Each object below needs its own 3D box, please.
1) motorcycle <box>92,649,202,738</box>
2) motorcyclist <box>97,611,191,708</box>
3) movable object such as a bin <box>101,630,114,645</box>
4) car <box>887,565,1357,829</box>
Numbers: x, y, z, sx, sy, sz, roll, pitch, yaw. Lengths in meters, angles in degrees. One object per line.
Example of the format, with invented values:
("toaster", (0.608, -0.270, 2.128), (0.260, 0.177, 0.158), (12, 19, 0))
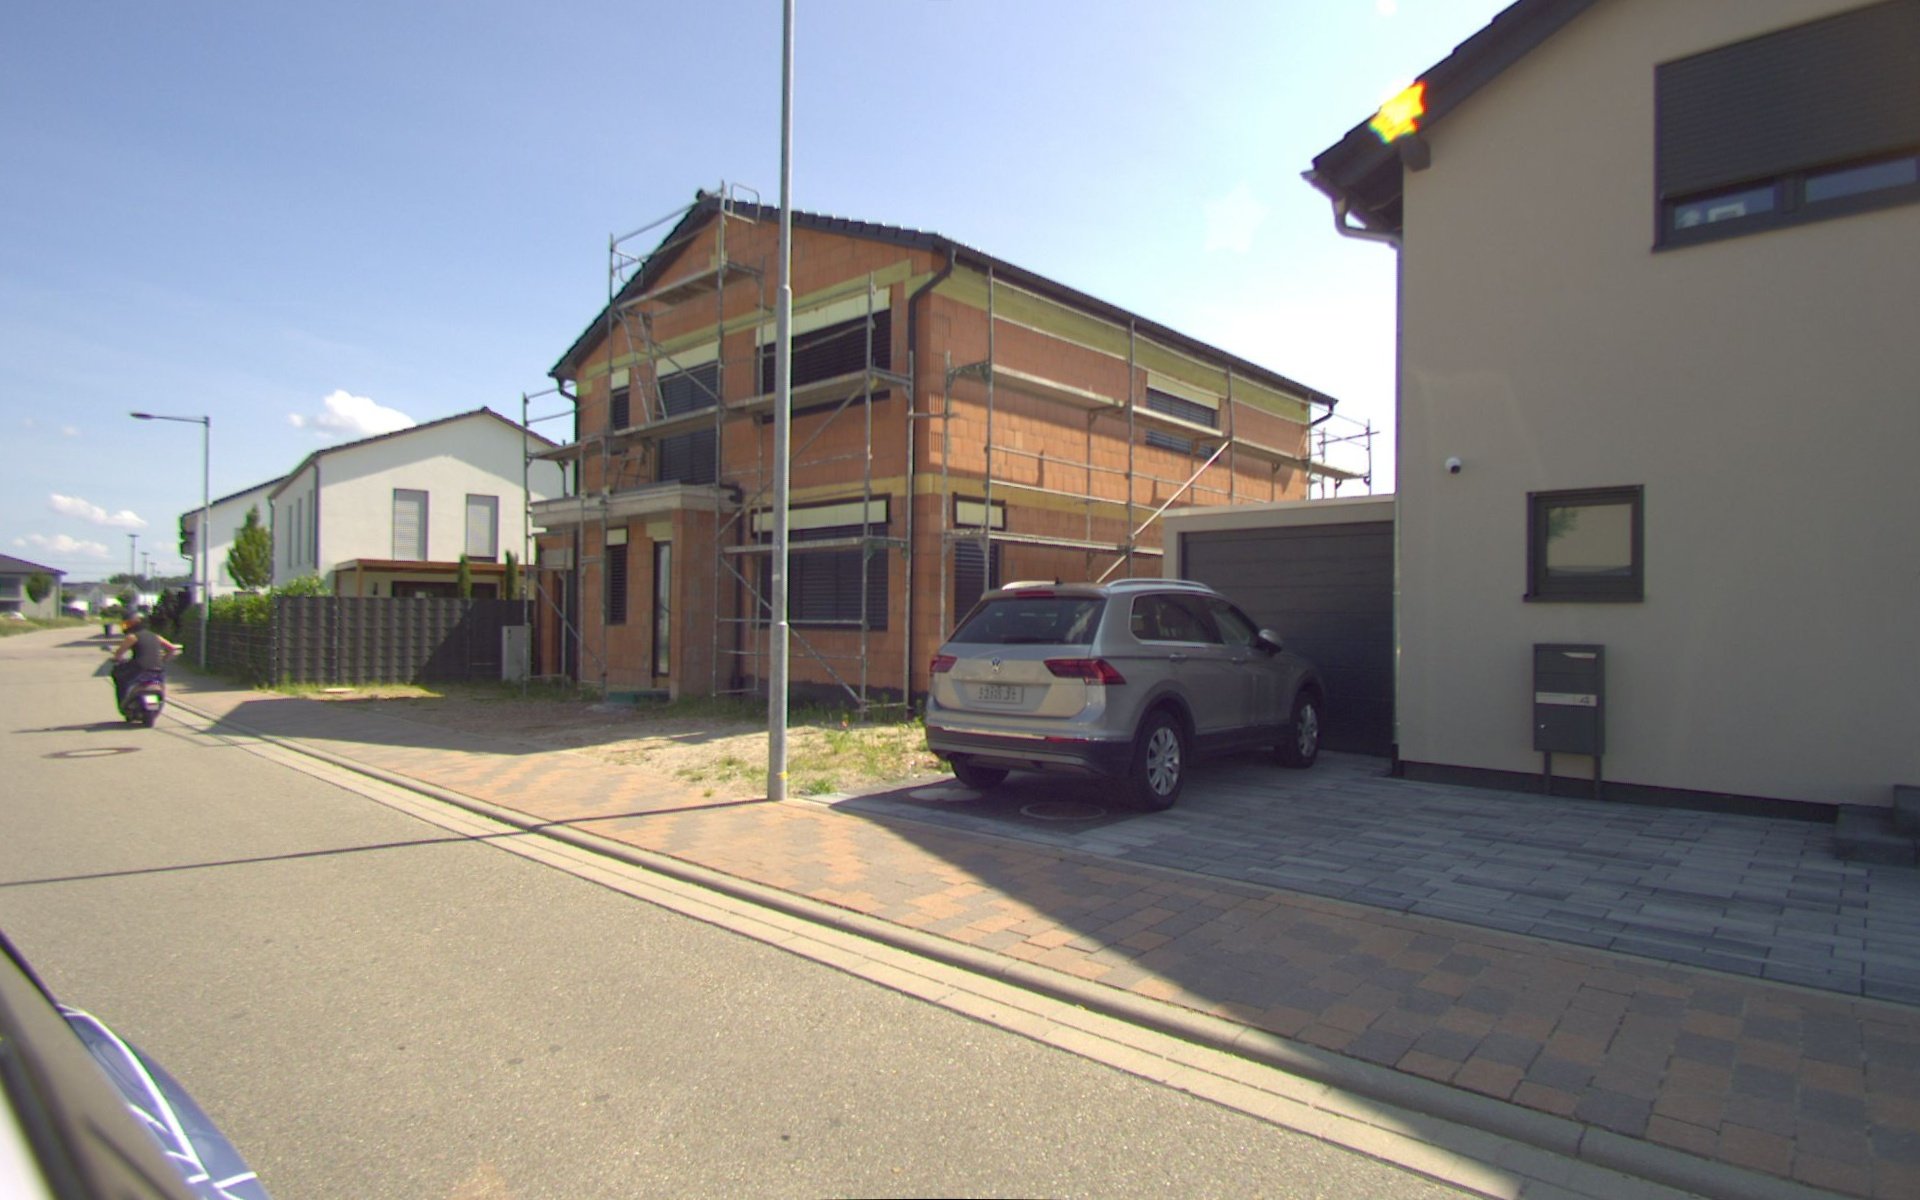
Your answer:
("motorcycle", (-11.113, 1.222, 13.796), (0.944, 1.043, 2.438), (-1, -1, -44))
("motorcyclist", (-11.103, 0.788, 13.770), (0.914, 1.232, 0.804), (-1, -1, -44))
("movable object such as a bin", (-52.621, 2.292, 62.485), (0.588, 0.928, 0.462), (1, -2, -37))
("car", (1.614, 0.672, 8.584), (1.998, 1.624, 4.380), (-1, -2, 40))
